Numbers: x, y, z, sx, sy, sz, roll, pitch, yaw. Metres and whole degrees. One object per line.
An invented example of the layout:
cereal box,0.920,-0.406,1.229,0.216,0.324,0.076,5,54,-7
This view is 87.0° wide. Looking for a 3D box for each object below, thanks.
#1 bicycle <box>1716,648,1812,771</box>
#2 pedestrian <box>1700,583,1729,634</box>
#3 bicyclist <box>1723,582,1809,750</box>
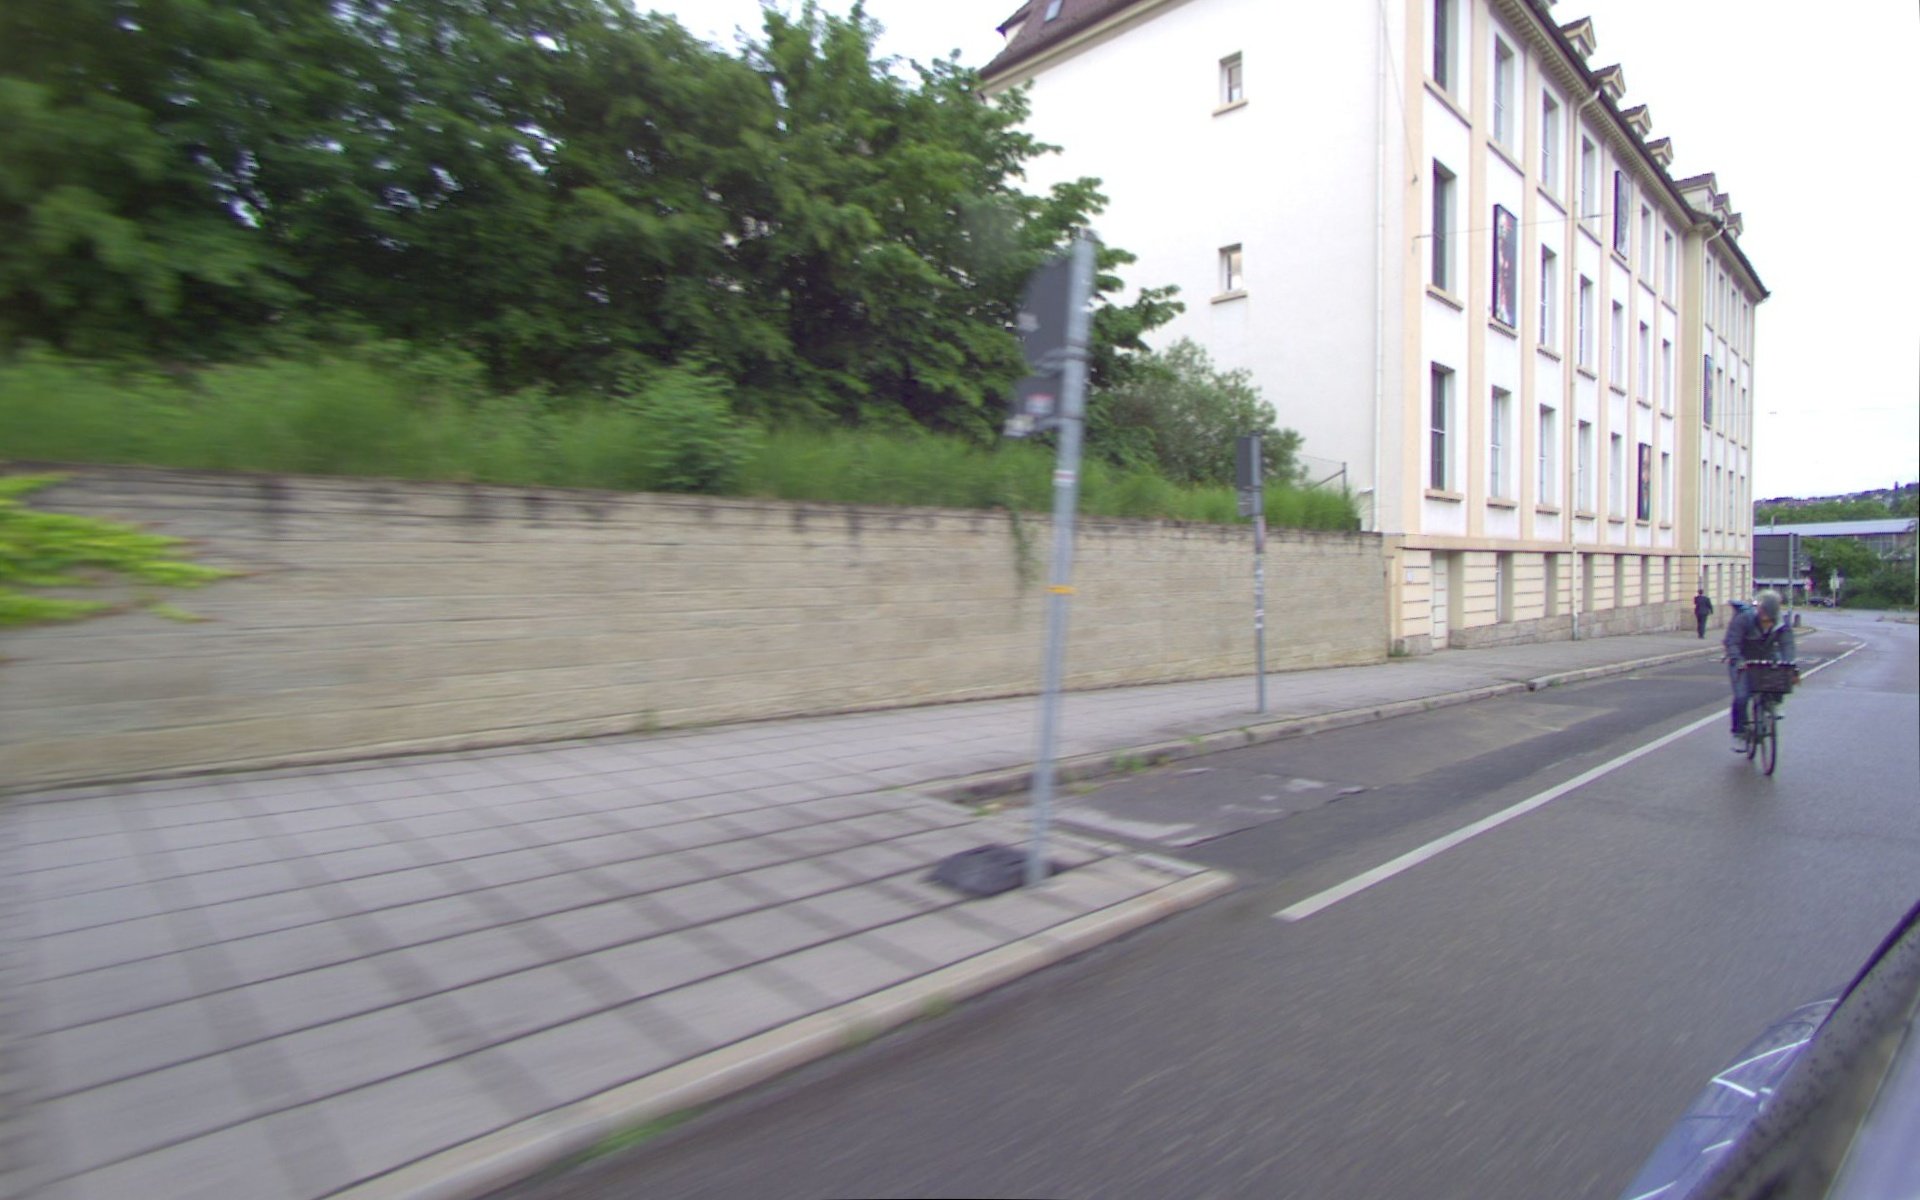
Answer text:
bicycle,7.384,0.959,9.269,1.661,0.975,0.448,1,0,-43
pedestrian,27.595,0.307,37.023,0.837,1.820,0.671,0,2,-43
bicyclist,7.385,0.567,9.264,0.914,1.451,0.485,-1,0,-43
